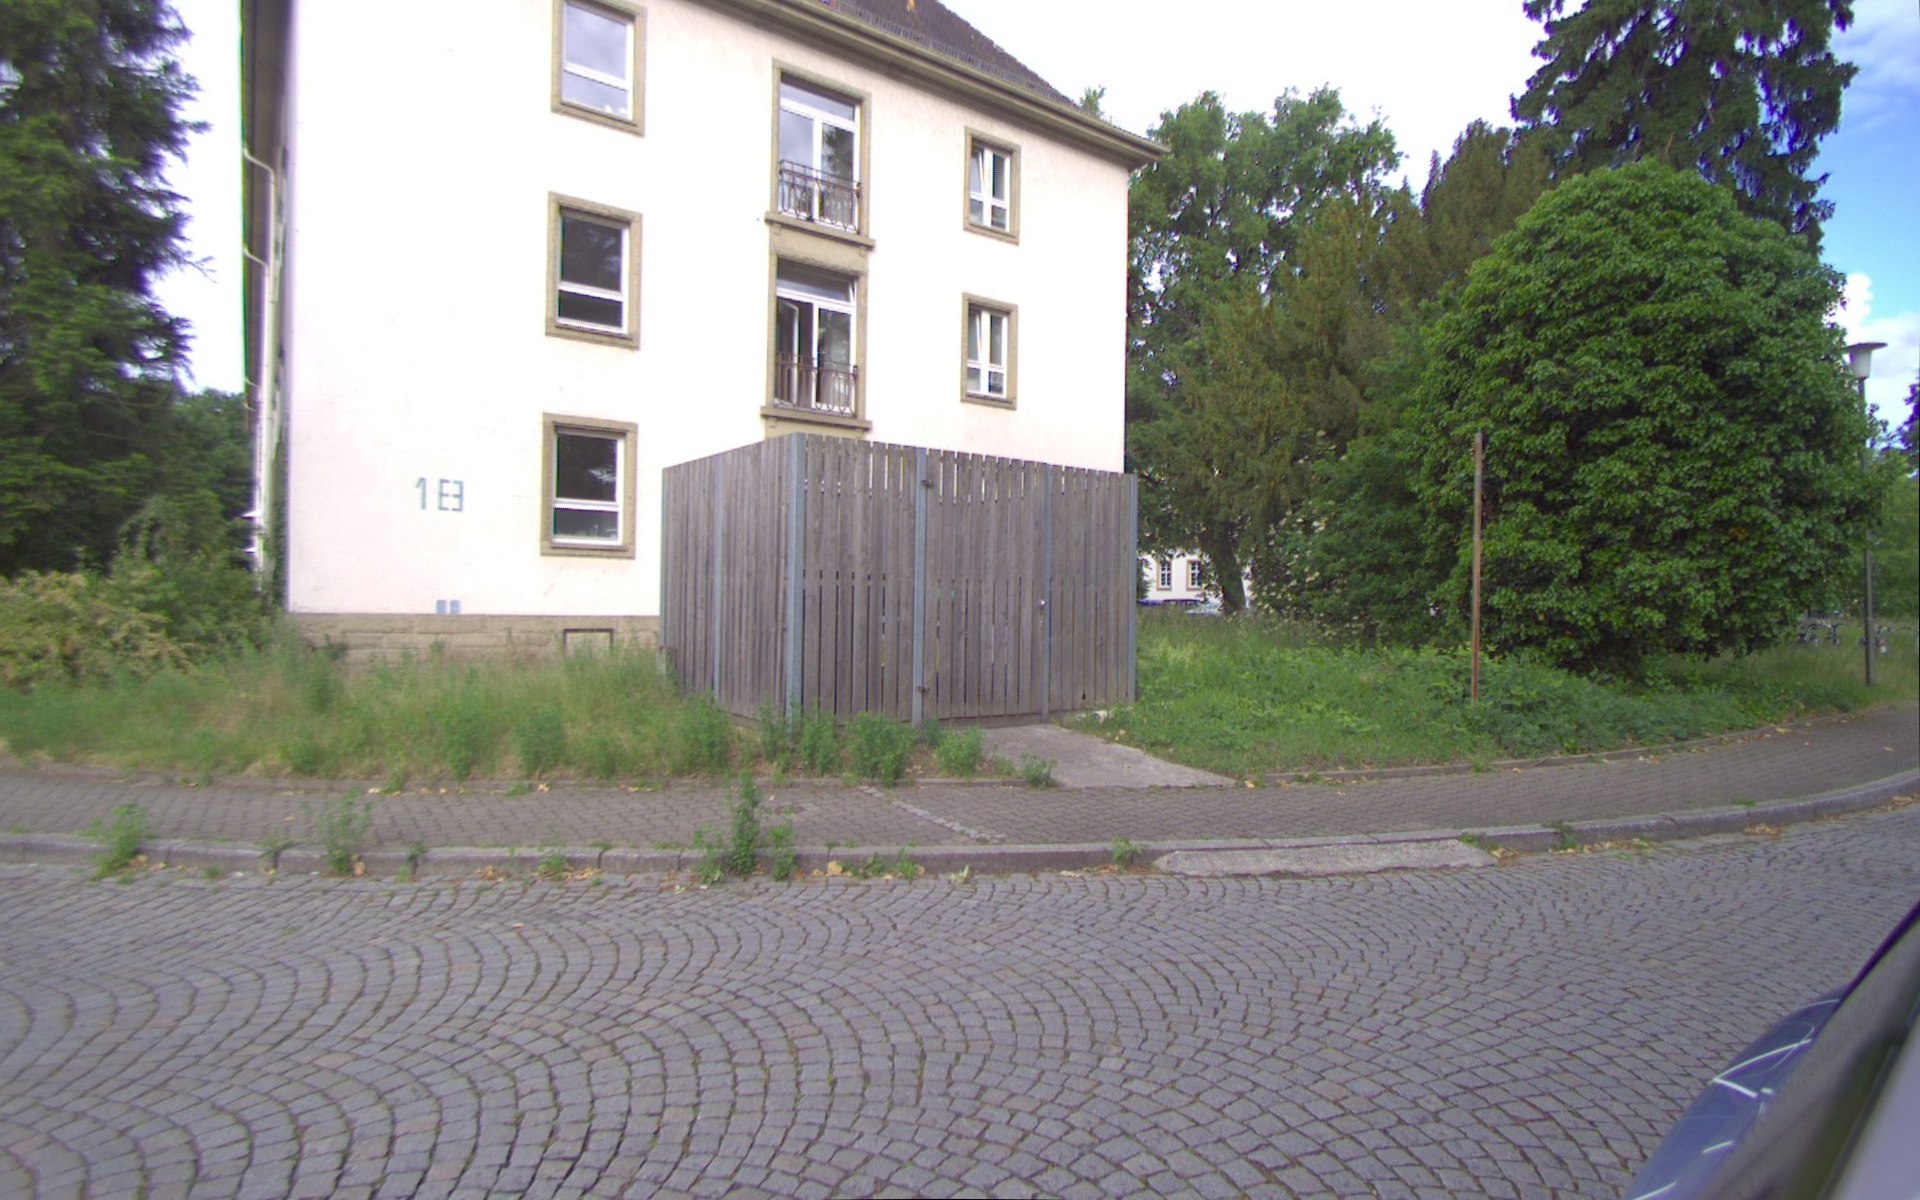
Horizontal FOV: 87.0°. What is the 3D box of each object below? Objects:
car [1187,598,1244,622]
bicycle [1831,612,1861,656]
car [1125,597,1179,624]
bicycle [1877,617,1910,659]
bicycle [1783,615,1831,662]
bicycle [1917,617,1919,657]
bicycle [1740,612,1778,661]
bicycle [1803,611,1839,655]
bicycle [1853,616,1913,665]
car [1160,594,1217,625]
[{"bbox_3d":[14.053,0.549,55.616,3.188,1.233,1.297,1,0,-36],"label":"car"},{"bbox_3d":[23.467,0.878,26.821,0.475,1.126,1.741,0,0,37],"label":"bicycle"},{"bbox_3d":[11.537,0.613,60.615,3.188,1.585,1.384,1,0,-36],"label":"car"},{"bbox_3d":[24.336,0.975,26.397,0.475,1.020,1.645,0,1,37],"label":"bicycle"},{"bbox_3d":[20.541,0.915,24.579,0.546,1.078,1.737,0,0,28],"label":"bicycle"},{"bbox_3d":[24.851,0.978,25.816,0.475,1.020,1.645,0,1,37],"label":"bicycle"},{"bbox_3d":[20.408,0.912,25.829,1.725,1.186,0.550,1,0,-44],"label":"bicycle"},{"bbox_3d":[23.190,0.878,27.282,0.474,1.126,1.745,0,0,32],"label":"bicycle"},{"bbox_3d":[21.674,0.927,23.804,0.612,1.078,1.807,0,0,28],"label":"bicycle"},{"bbox_3d":[13.006,0.533,57.665,3.188,1.682,1.439,1,0,-36],"label":"car"}]
